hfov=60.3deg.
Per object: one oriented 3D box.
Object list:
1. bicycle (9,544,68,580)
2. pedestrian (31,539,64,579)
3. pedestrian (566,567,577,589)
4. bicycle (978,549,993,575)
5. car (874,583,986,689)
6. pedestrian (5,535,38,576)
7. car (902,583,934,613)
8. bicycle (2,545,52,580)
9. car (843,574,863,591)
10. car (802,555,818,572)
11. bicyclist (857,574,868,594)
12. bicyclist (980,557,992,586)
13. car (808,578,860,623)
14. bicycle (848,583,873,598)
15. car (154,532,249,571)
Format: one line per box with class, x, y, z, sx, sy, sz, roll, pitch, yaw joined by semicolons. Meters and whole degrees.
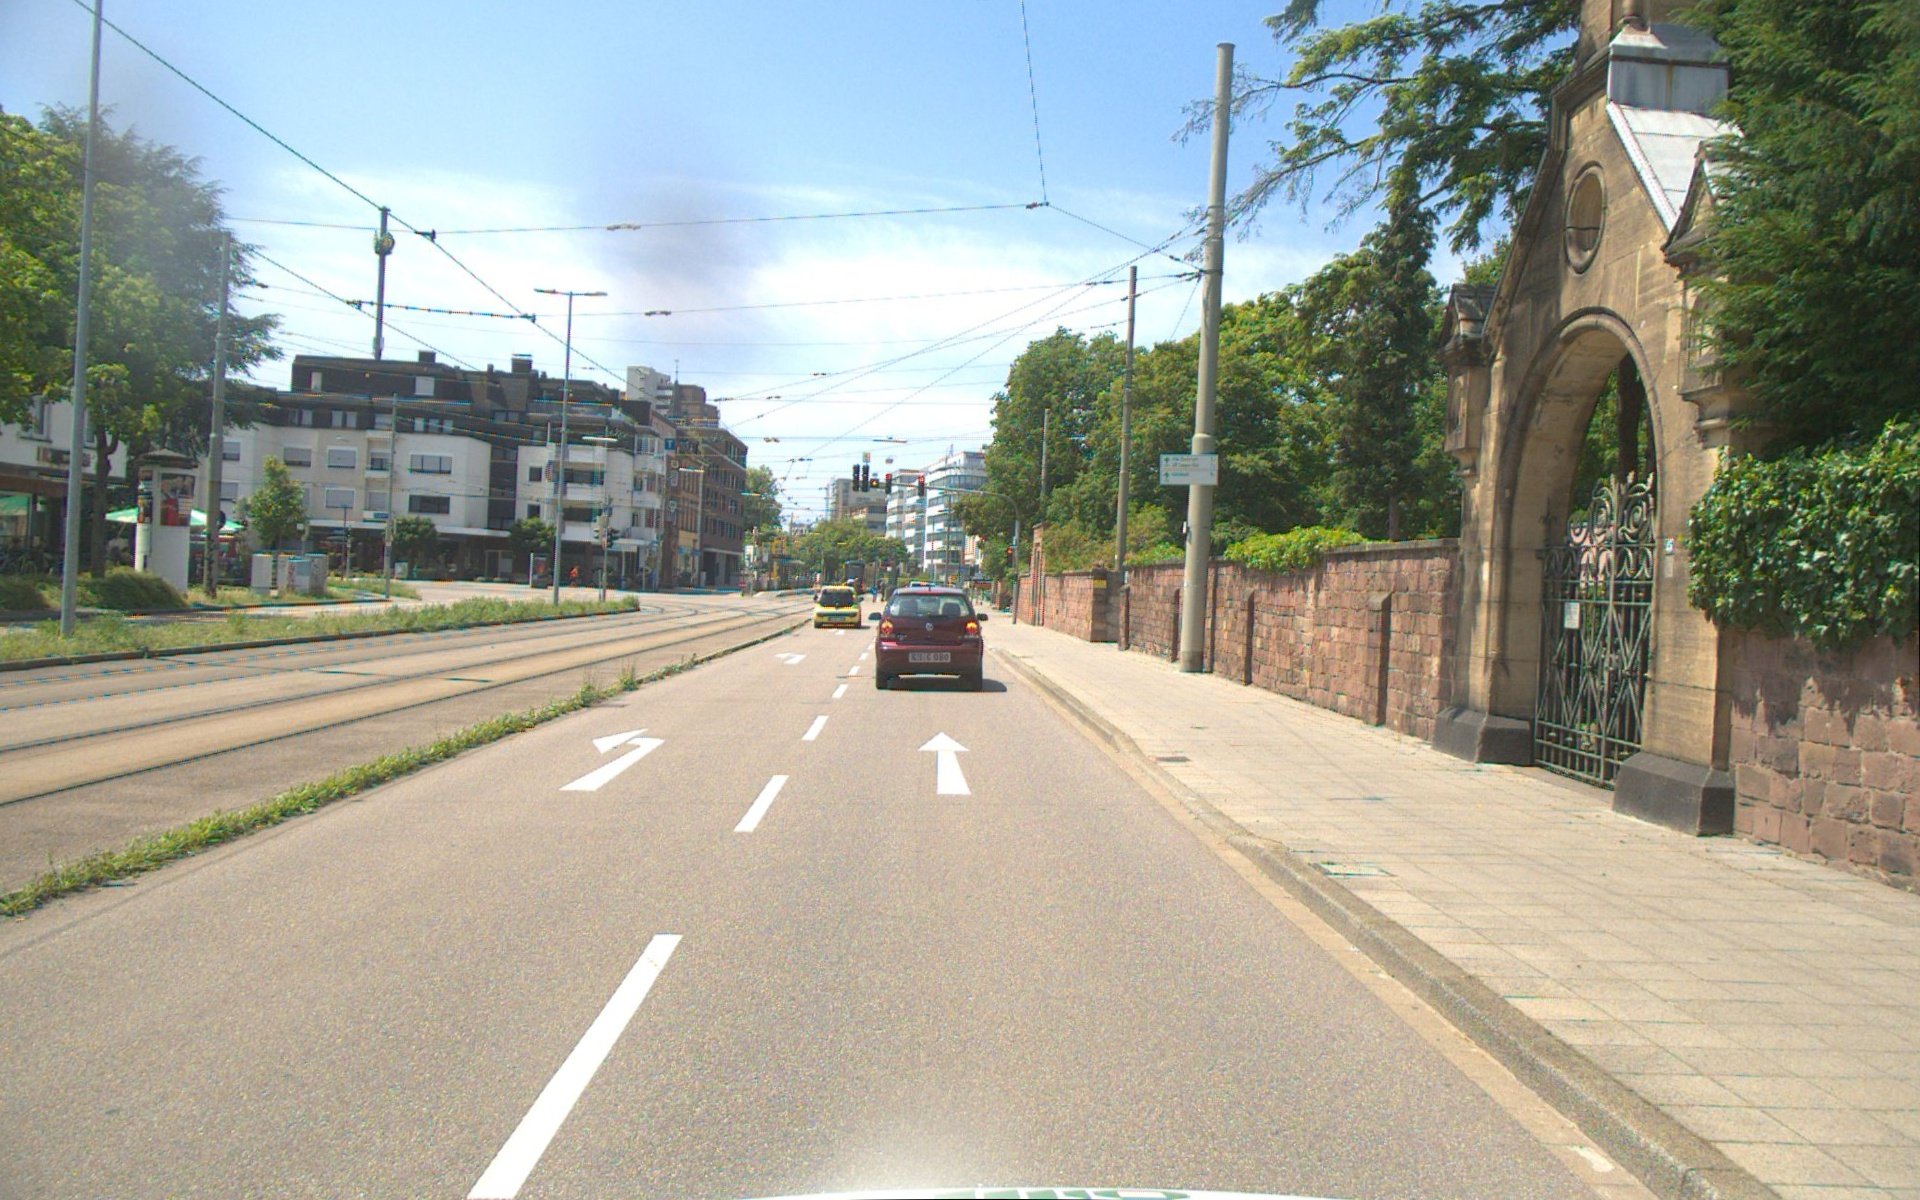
bicycle;-26.829;-1.098;48.177;0.598;0.996;2.029;1;0;-1
pedestrian;-29.814;-1.328;54.047;0.577;1.291;0.842;1;0;-1
pedestrian;-28.166;-1.624;119.932;0.477;1.568;0.535;1;0;43
bicycle;1.651;-2.467;107.572;0.818;1.552;3.999;1;0;-1
car;-0.485;0.491;25.421;1.577;1.489;4.084;0;1;-2
pedestrian;-30.553;-1.440;53.865;0.577;1.291;0.842;1;0;-1
car;-2.064;-0.107;81.589;1.541;1.440;3.719;0;1;-2
bicycle;-28.118;-1.120;49.854;0.527;0.996;1.758;1;0;-1
car;-11.028;-1.768;170.243;1.899;1.670;3.998;1;0;-2
car;-18.797;-4.611;207.360;1.700;2.048;3.999;2;1;-1
bicyclist;-7.306;-1.204;123.629;0.751;1.430;0.506;1;0;-5
bicyclist;1.654;-1.870;107.186;0.707;1.850;0.888;1;0;-2
car;-4.425;-0.008;58.345;1.689;1.470;3.291;1;1;-2
bicycle;-7.432;-0.701;123.591;1.829;1.025;0.578;1;0;-6
car;-48.732;-3.107;106.348;4.963;2.382;2.243;1;0;-3
